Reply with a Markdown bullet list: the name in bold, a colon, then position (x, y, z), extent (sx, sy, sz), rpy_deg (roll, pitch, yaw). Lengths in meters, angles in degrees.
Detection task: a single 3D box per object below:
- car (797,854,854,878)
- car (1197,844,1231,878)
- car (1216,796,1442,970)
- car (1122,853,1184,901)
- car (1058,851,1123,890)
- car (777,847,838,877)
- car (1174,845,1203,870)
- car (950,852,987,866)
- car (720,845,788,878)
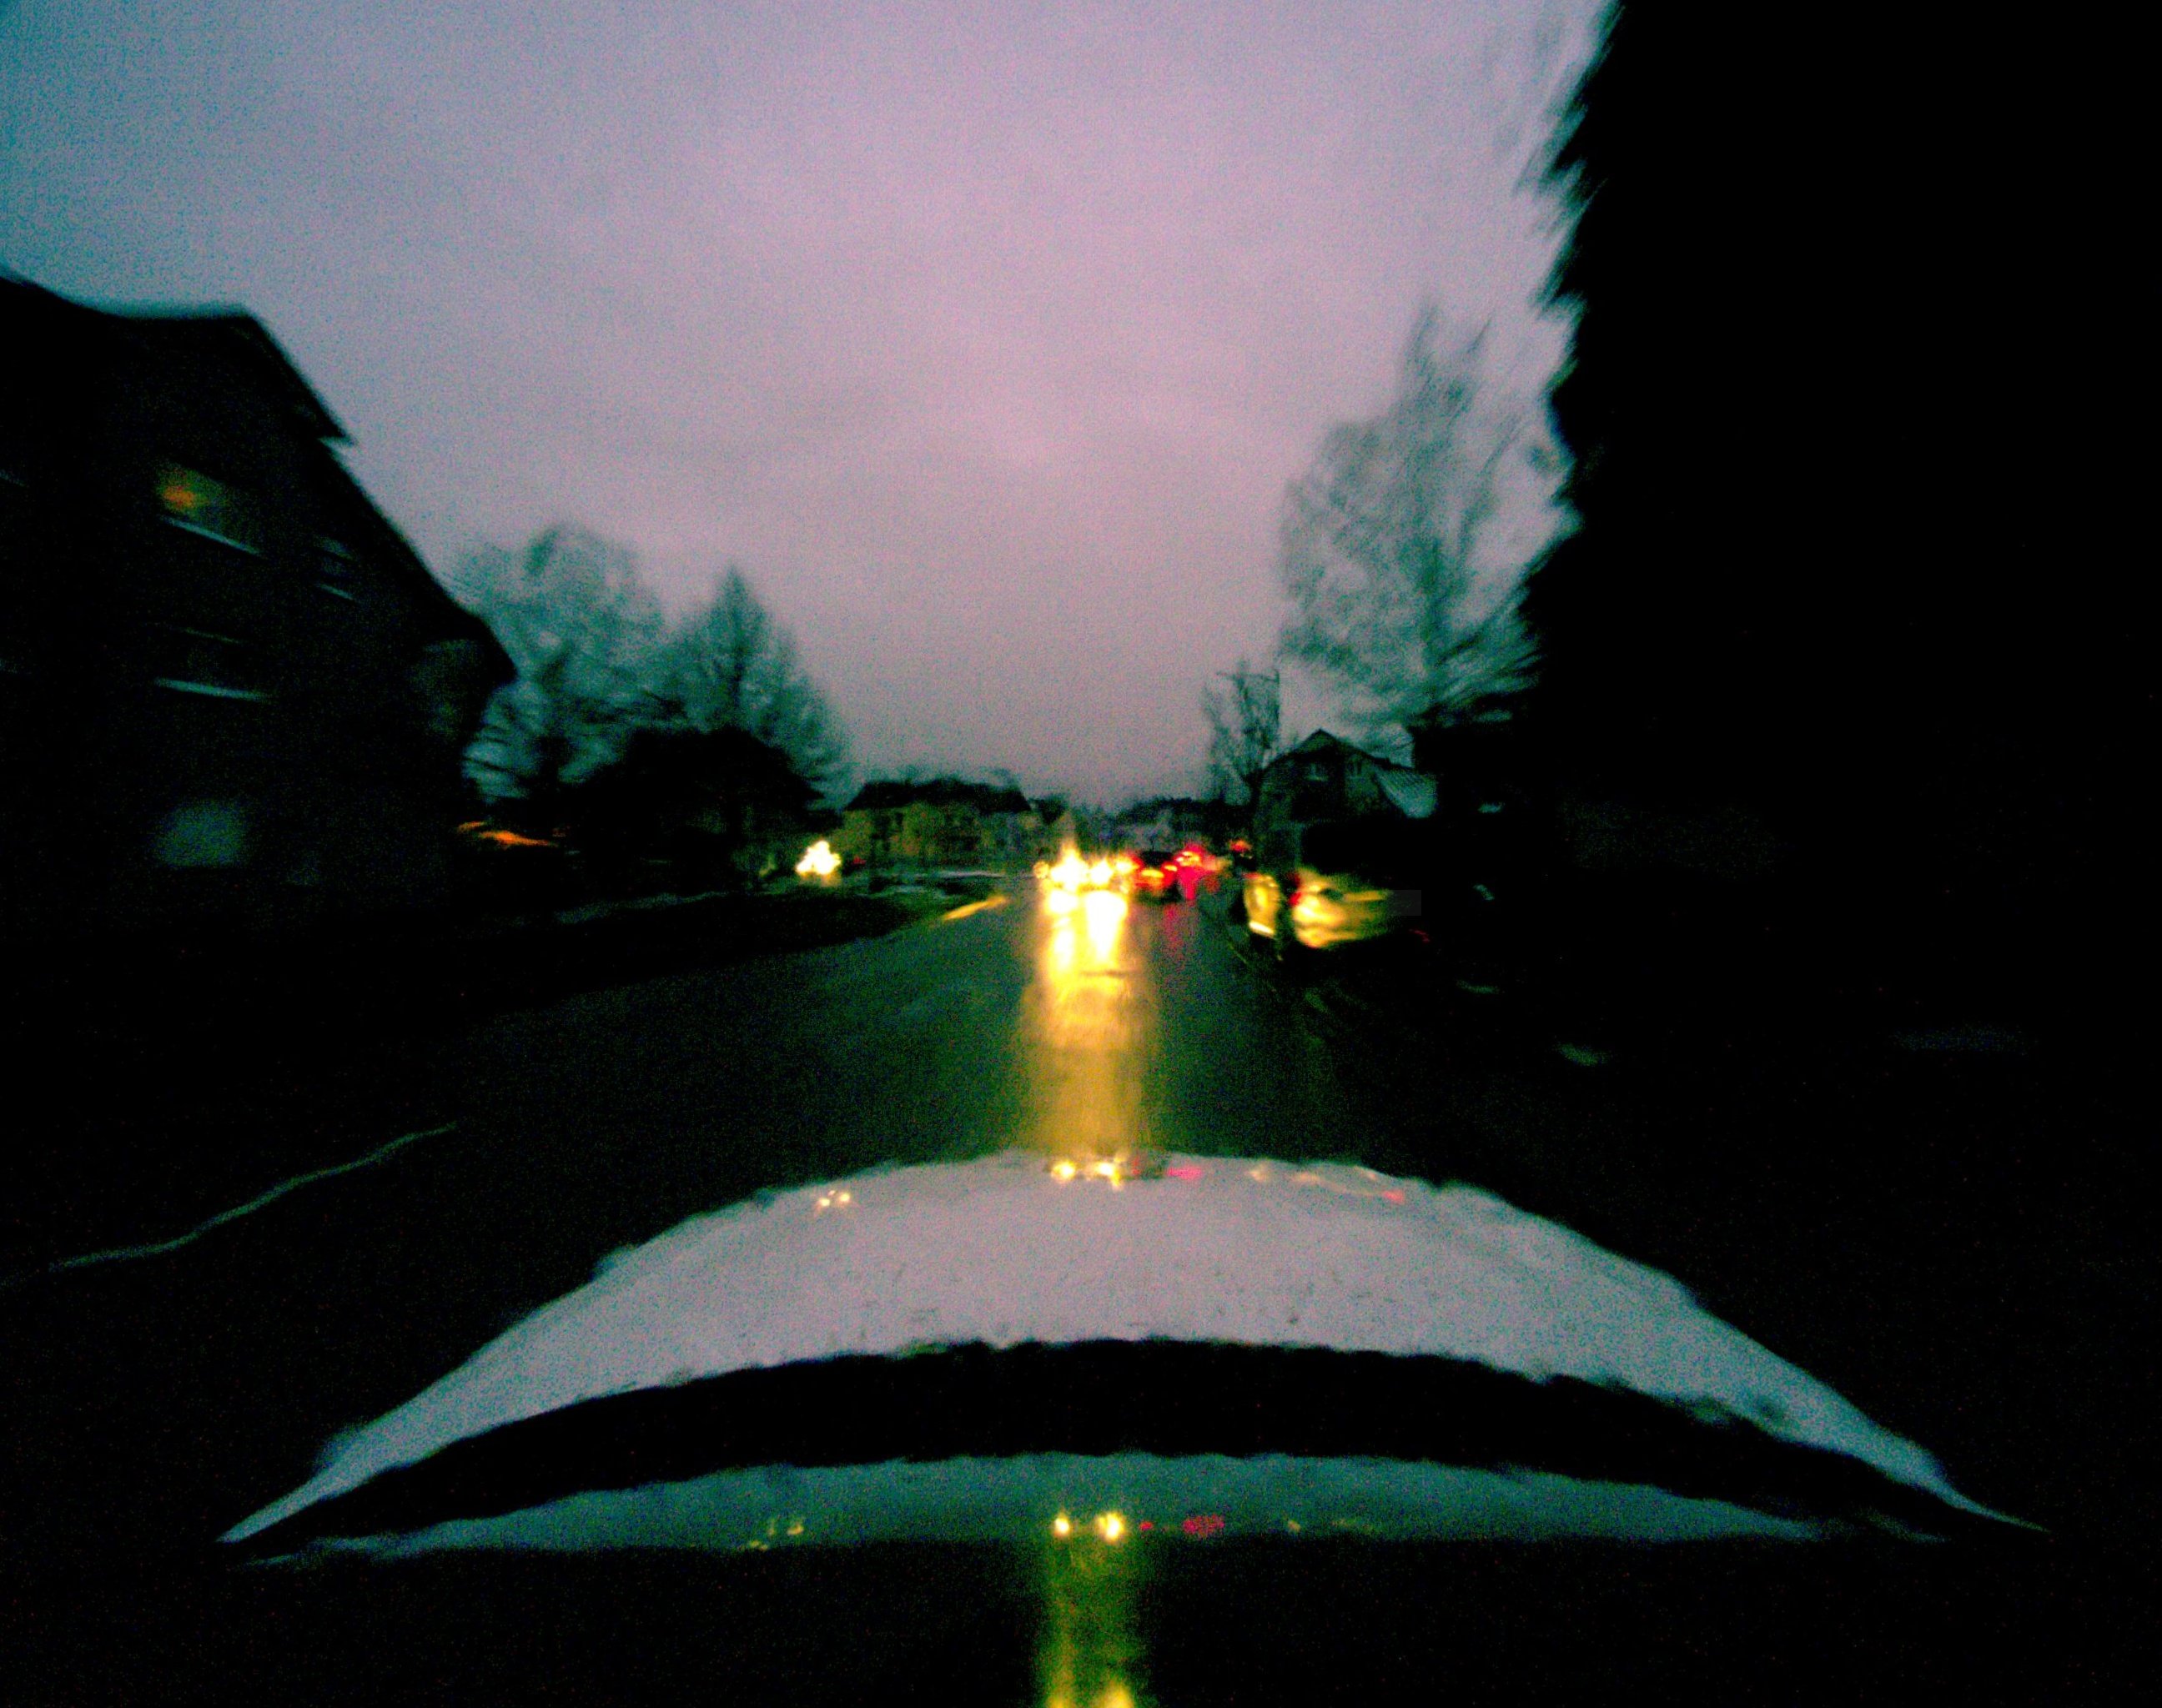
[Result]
- **car**: position (-16.323, 0.723, 52.218), extent (1.378, 1.437, 4.354), rpy_deg (0, 1, 15)
- **car**: position (7.806, 0.383, 47.396), extent (1.734, 1.785, 4.349), rpy_deg (-3, 0, 11)
- **car**: position (3.492, 0.333, 12.792), extent (1.969, 2.013, 5.749), rpy_deg (-3, 0, 3)
- **car**: position (2.455, 0.744, 28.323), extent (1.985, 1.525, 4.004), rpy_deg (-1, 0, 3)
- **car**: position (0.467, 0.625, 34.201), extent (1.894, 1.488, 4.582), rpy_deg (0, 1, 11)
- **car**: position (-18.880, 0.525, 56.419), extent (1.979, 2.013, 4.240), rpy_deg (0, 1, 15)
- **car**: position (9.053, 0.340, 68.300), extent (1.979, 2.014, 4.015), rpy_deg (-1, -1, 14)
- **car**: position (-11.197, 0.499, 81.415), extent (1.978, 1.307, 4.132), rpy_deg (1, 1, 18)
- **car**: position (-20.680, 0.444, 51.654), extent (1.903, 2.013, 4.016), rpy_deg (0, 1, 15)
